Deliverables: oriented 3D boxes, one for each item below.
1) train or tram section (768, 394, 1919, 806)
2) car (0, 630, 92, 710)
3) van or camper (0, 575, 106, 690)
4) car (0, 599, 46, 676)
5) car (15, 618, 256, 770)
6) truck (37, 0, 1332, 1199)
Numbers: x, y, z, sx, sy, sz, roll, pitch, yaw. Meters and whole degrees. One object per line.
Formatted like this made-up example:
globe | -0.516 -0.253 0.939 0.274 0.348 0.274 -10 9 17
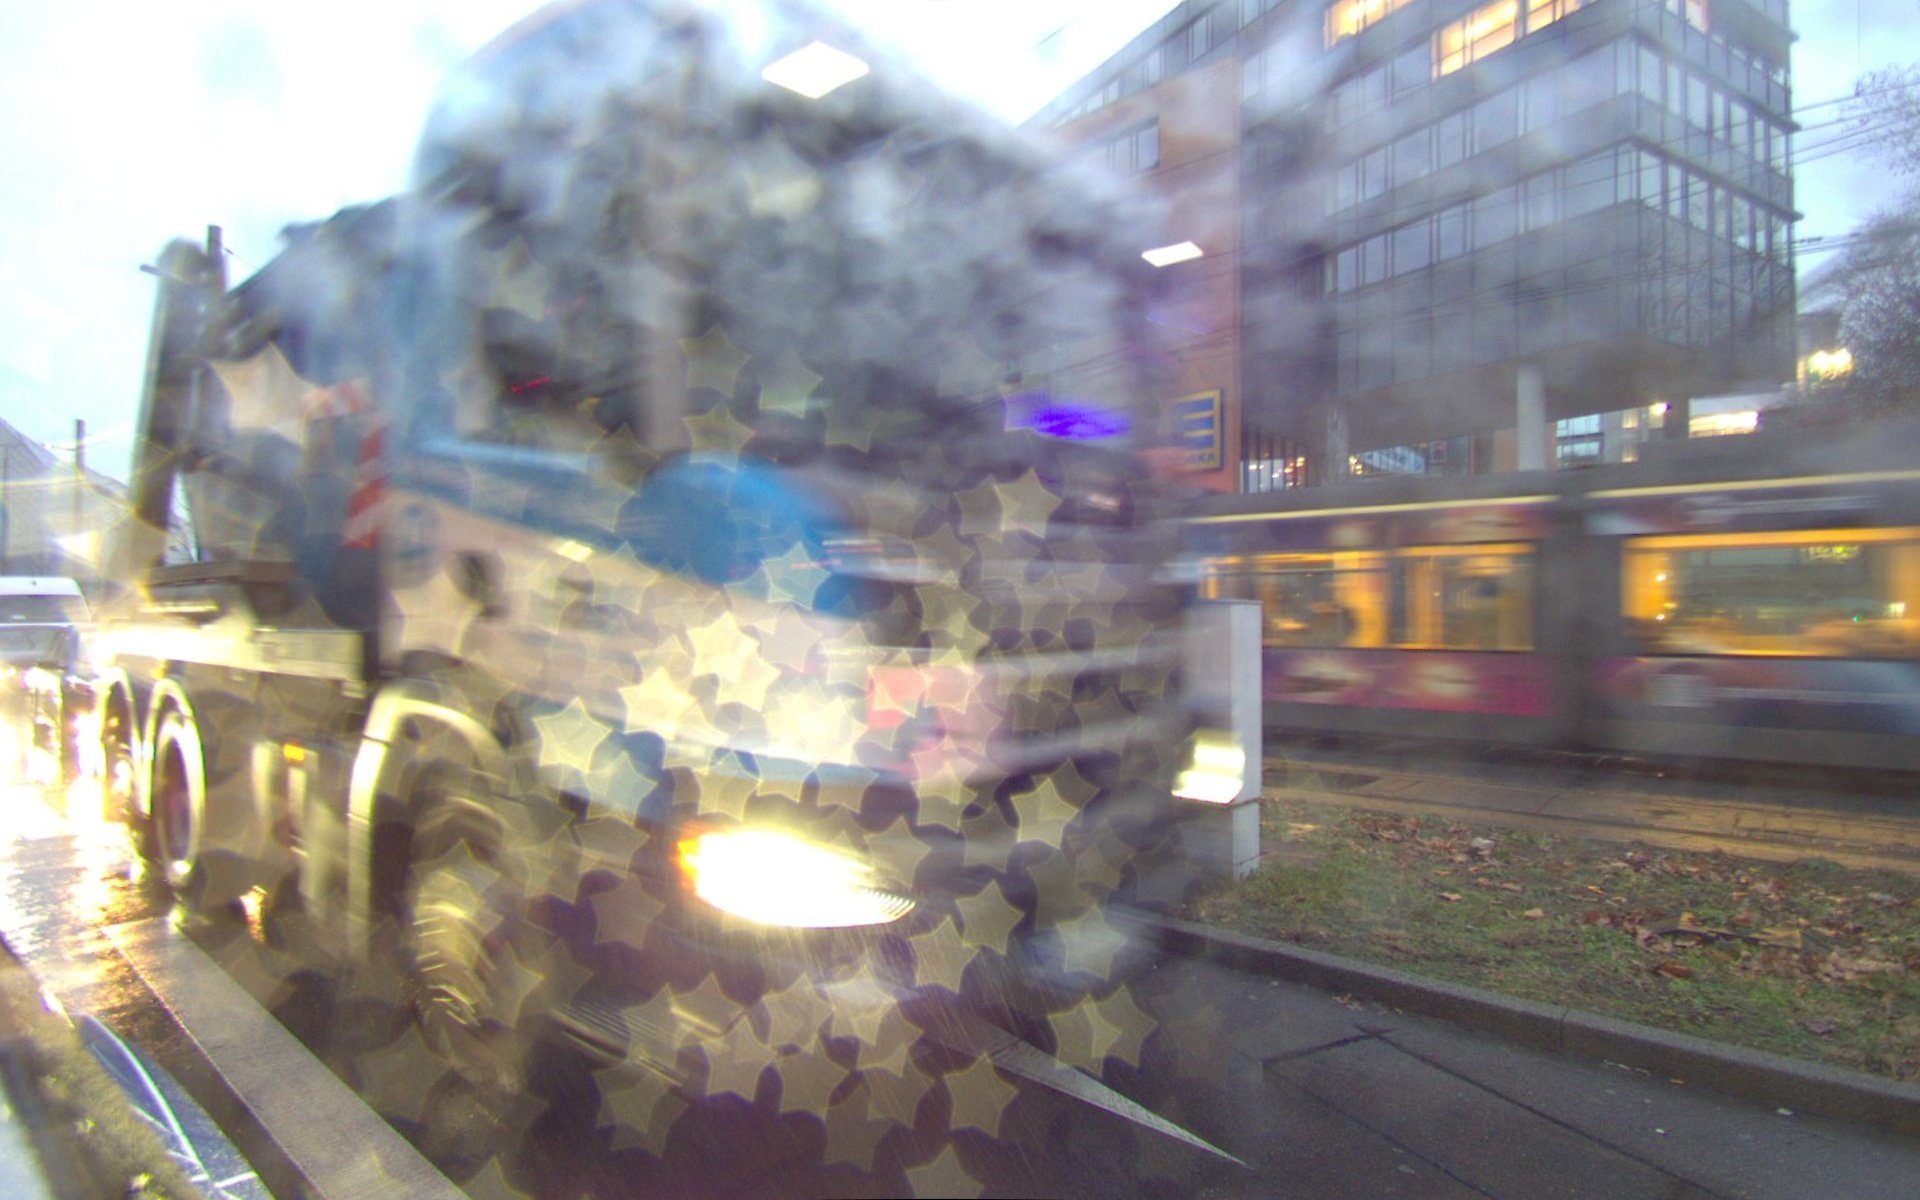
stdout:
train or tram section | 5.079 0.110 13.546 20.050 3.642 2.836 -1 -2 39
car | -17.857 1.261 19.175 4.057 1.355 1.735 -1 -2 44
van or camper | -23.102 0.784 24.978 5.894 2.551 2.126 -1 -2 40
car | -37.724 1.443 39.618 5.809 2.885 2.102 -1 -2 40
car | -10.212 1.017 12.438 3.939 1.535 1.613 0 -1 41
truck | -2.308 -0.304 5.341 7.521 3.661 2.810 -1 -2 40
